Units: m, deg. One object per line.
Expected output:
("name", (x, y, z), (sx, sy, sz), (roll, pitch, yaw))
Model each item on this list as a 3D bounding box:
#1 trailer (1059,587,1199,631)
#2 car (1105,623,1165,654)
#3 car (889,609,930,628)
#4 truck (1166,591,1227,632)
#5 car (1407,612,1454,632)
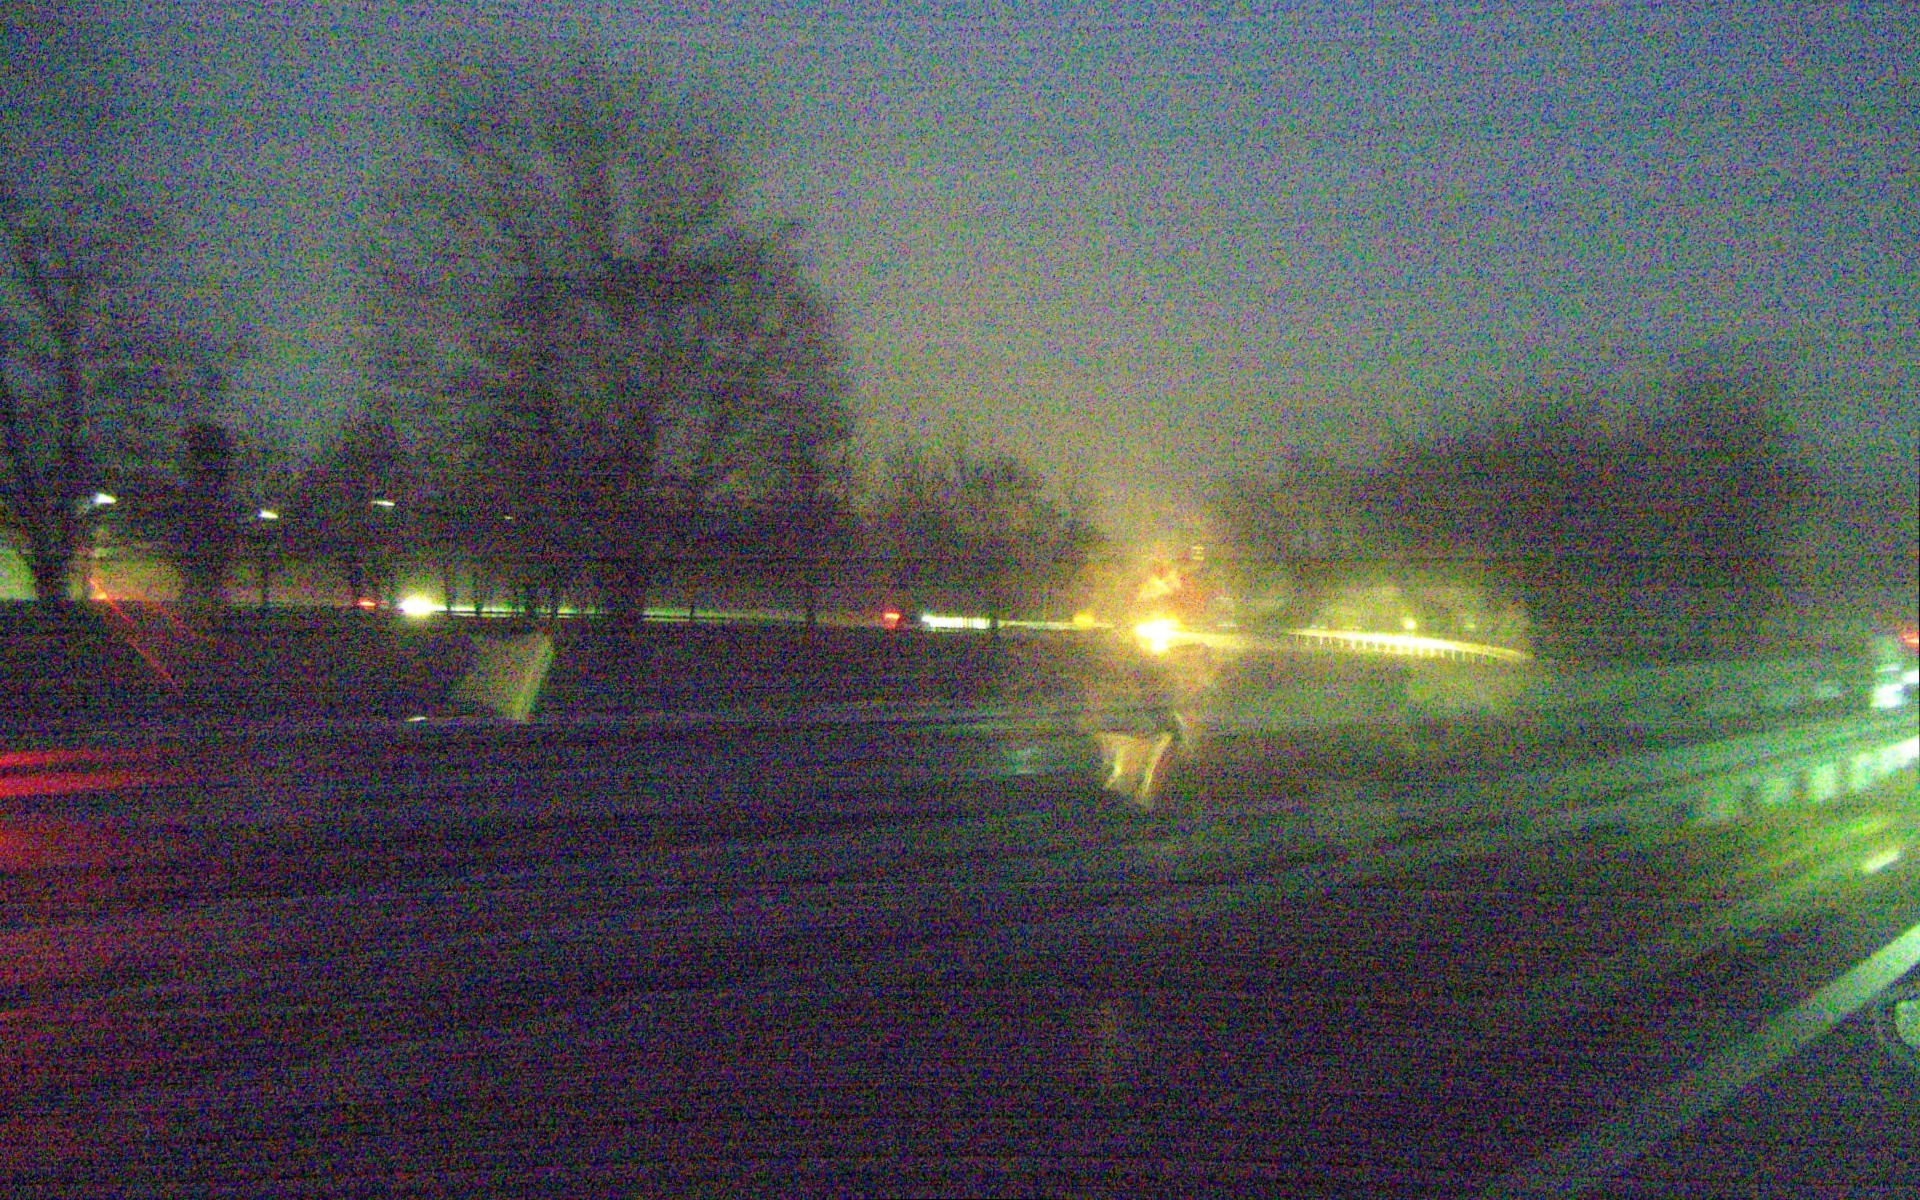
("trailer", (16.604, 0.847, 99.486), (13.376, 3.775, 2.601), (2, 2, 5))
("car", (10.945, 2.377, 63.129), (1.736, 1.662, 3.974), (1, 1, -25))
("car", (-4.969, 1.824, 99.740), (3.922, 1.640, 1.999), (2, 1, -1))
("truck", (23.236, 1.079, 98.888), (5.348, 3.761, 2.597), (2, 2, 5))
("car", (53.323, 2.534, 113.849), (4.381, 2.041, 2.000), (2, 1, 3))
